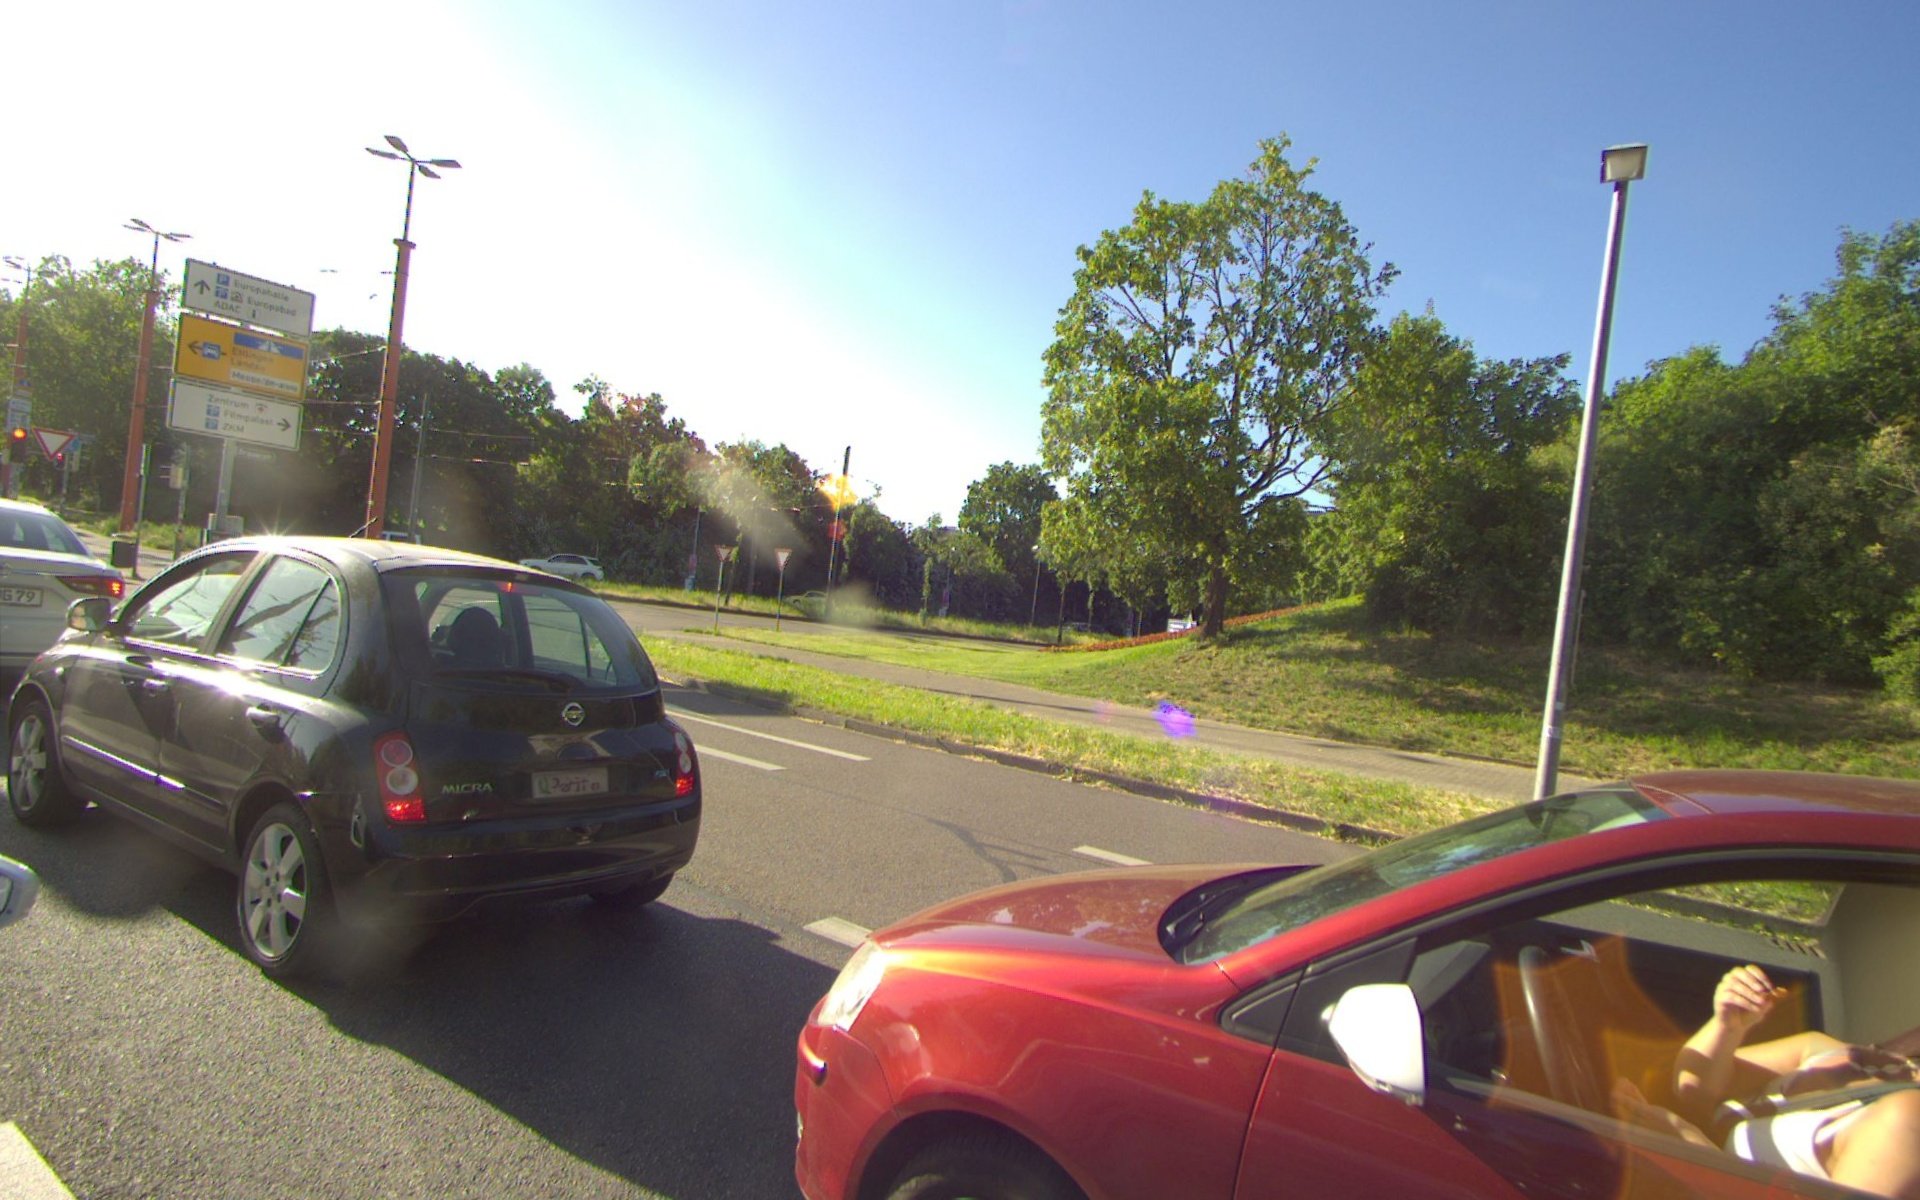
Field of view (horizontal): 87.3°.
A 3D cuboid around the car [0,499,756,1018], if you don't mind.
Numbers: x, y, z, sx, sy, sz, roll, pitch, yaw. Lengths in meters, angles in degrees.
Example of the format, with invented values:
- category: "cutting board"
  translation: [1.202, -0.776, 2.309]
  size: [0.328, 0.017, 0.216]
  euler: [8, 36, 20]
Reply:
- category: "car"
  translation: [-2.807, 0.468, 4.625]
  size: [3.385, 1.457, 1.579]
  euler: [6, -2, 32]

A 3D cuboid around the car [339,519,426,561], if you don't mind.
- category: "car"
  translation: [-32.928, -3.406, 57.409]
  size: [4.091, 1.771, 1.643]
  euler: [8, -1, -32]

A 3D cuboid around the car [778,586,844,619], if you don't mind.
- category: "car"
  translation: [-10.577, 0.178, 71.309]
  size: [4.176, 1.701, 1.643]
  euler: [8, -1, -32]

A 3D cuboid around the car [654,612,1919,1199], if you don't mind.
- category: "car"
  translation: [1.335, 1.003, 1.869]
  size: [3.629, 1.477, 1.579]
  euler: [6, -2, 32]

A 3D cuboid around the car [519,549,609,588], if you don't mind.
- category: "car"
  translation: [-23.420, -1.858, 59.513]
  size: [4.629, 1.644, 1.643]
  euler: [8, -1, -32]

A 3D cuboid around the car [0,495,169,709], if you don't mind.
- category: "car"
  translation: [-8.379, -0.175, 8.080]
  size: [4.256, 1.457, 1.802]
  euler: [6, -2, 33]
